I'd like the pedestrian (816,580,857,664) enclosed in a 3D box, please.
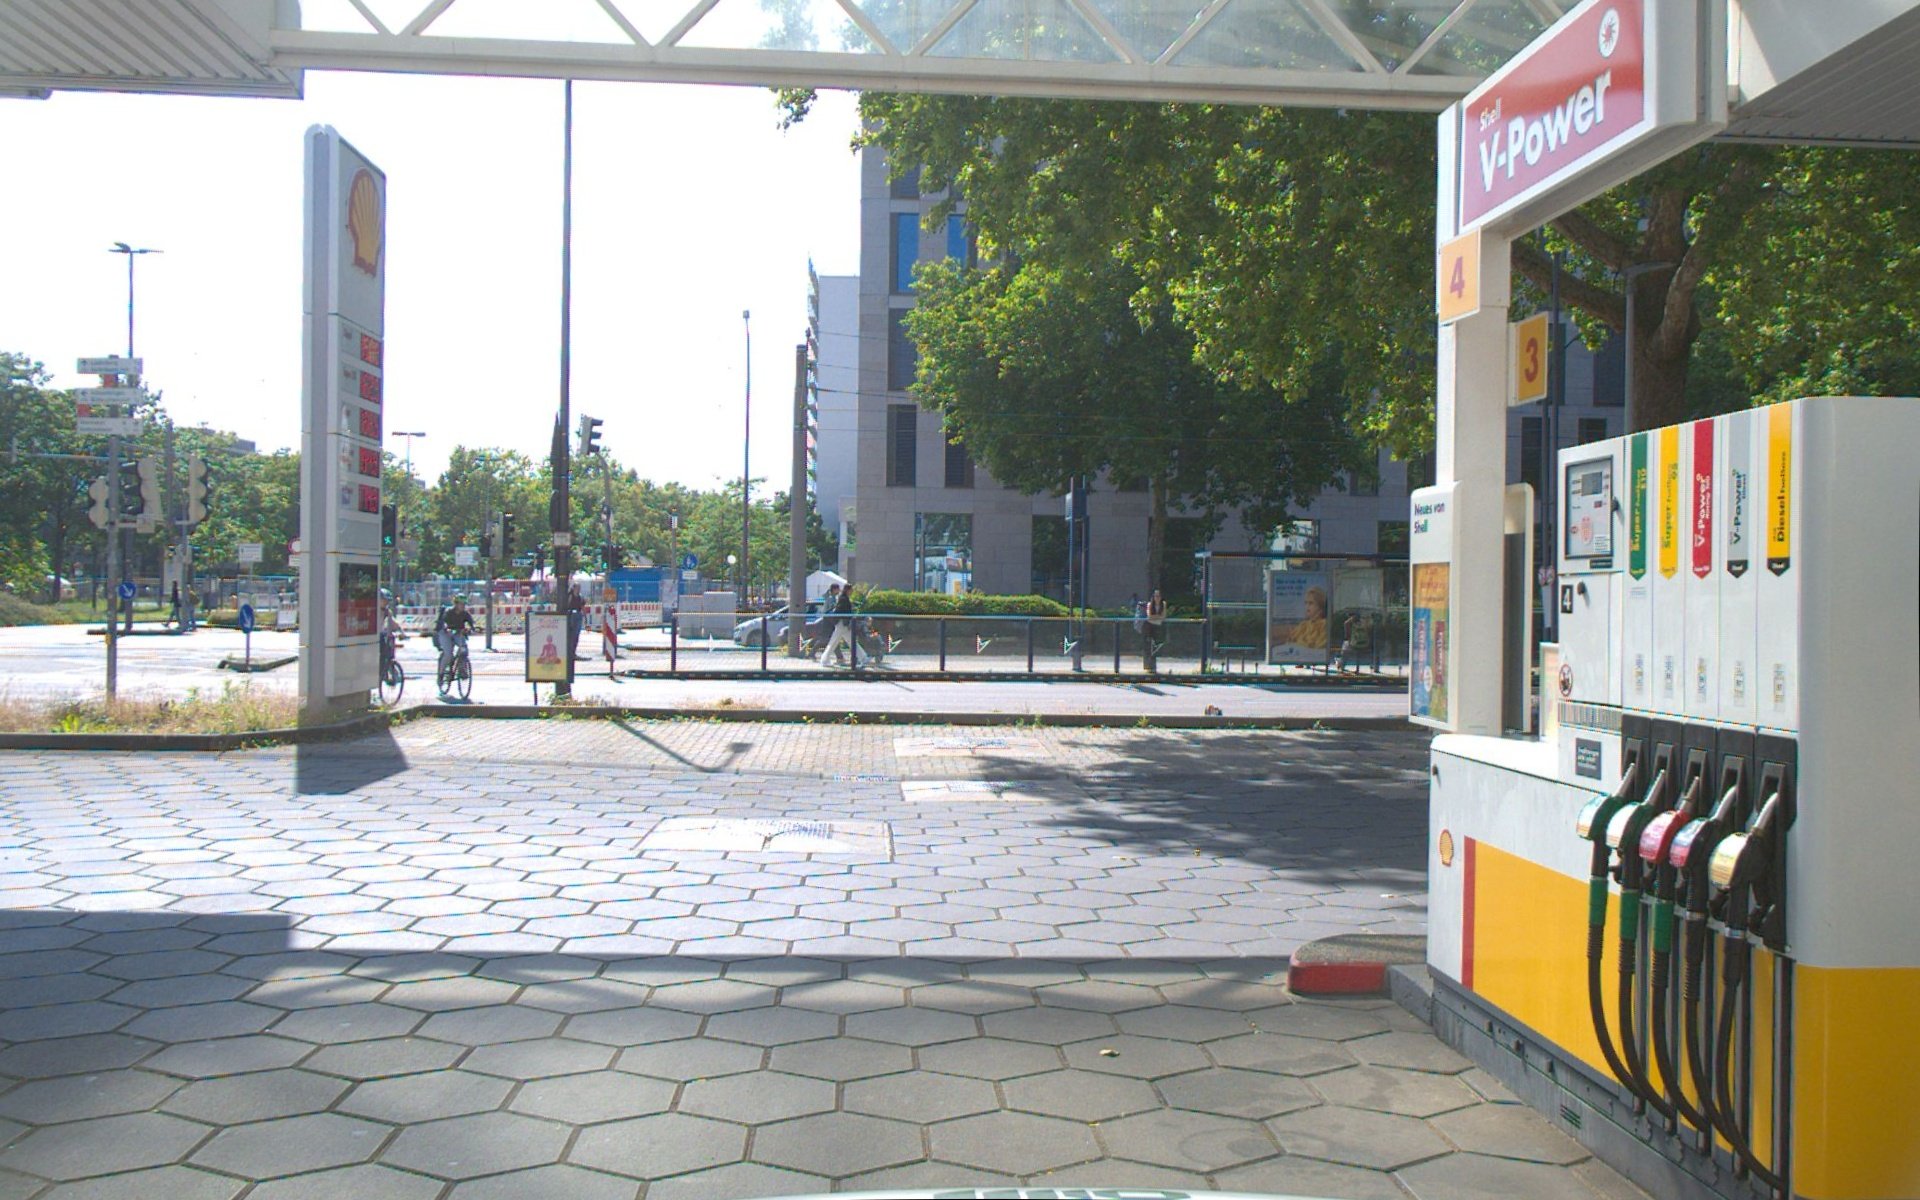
[{"bbox_3d":[-2.565,0.451,34.462,0.760,1.712,0.503,1,0,5],"label":"pedestrian"}]

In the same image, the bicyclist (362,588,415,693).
[{"bbox_3d":[-8.915,0.617,25.817,0.626,1.608,1.169,1,0,-12],"label":"bicyclist"}]

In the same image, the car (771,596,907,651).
[{"bbox_3d":[-3.640,0.687,49.494,3.913,1.579,1.700,1,0,-9],"label":"car"}]

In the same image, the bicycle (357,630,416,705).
[{"bbox_3d":[-8.934,1.037,25.824,0.627,1.101,2.019,1,-1,-13],"label":"bicycle"}]

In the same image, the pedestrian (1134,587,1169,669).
[{"bbox_3d":[3.868,0.558,33.396,0.572,1.619,0.670,1,1,-4],"label":"pedestrian"}]

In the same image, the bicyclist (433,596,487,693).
[{"bbox_3d":[-8.290,0.721,27.413,0.530,1.571,0.853,1,-1,-41],"label":"bicyclist"}]

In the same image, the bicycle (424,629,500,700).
[{"bbox_3d":[-8.264,1.050,27.387,0.520,1.101,1.840,1,0,-40],"label":"bicycle"}]

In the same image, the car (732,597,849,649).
[{"bbox_3d":[-5.390,0.711,52.506,3.614,1.579,1.588,1,0,-9],"label":"car"}]

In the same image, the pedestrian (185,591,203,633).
[{"bbox_3d":[-27.239,0.432,58.817,0.557,1.495,0.509,1,0,-28],"label":"pedestrian"}]

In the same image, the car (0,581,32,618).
[{"bbox_3d":[-49.605,0.004,83.845,3.905,1.847,2.000,-1,0,0],"label":"car"}]

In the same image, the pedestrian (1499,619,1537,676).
[{"bbox_3d":[11.520,0.981,34.137,0.615,1.158,0.524,1,0,3],"label":"pedestrian"}]

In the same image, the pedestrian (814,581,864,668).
[{"bbox_3d":[-2.430,0.490,33.341,0.912,1.712,0.503,1,0,5],"label":"pedestrian"}]

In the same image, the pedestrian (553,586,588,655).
[{"bbox_3d":[-8.969,0.469,38.126,0.636,1.567,0.503,1,0,5],"label":"pedestrian"}]

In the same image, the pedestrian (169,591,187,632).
[{"bbox_3d":[-28.188,0.410,59.616,0.557,1.495,0.509,1,0,-28],"label":"pedestrian"}]

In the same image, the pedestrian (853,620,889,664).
[{"bbox_3d":[-1.850,0.865,34.396,0.676,0.895,0.503,1,0,5],"label":"pedestrian"}]

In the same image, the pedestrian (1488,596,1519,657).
[{"bbox_3d":[11.214,0.549,34.108,0.489,1.241,0.406,1,0,-1],"label":"pedestrian"}]

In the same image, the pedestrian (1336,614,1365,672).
[{"bbox_3d":[7.982,0.871,33.824,0.488,1.158,0.524,1,0,3],"label":"pedestrian"}]
